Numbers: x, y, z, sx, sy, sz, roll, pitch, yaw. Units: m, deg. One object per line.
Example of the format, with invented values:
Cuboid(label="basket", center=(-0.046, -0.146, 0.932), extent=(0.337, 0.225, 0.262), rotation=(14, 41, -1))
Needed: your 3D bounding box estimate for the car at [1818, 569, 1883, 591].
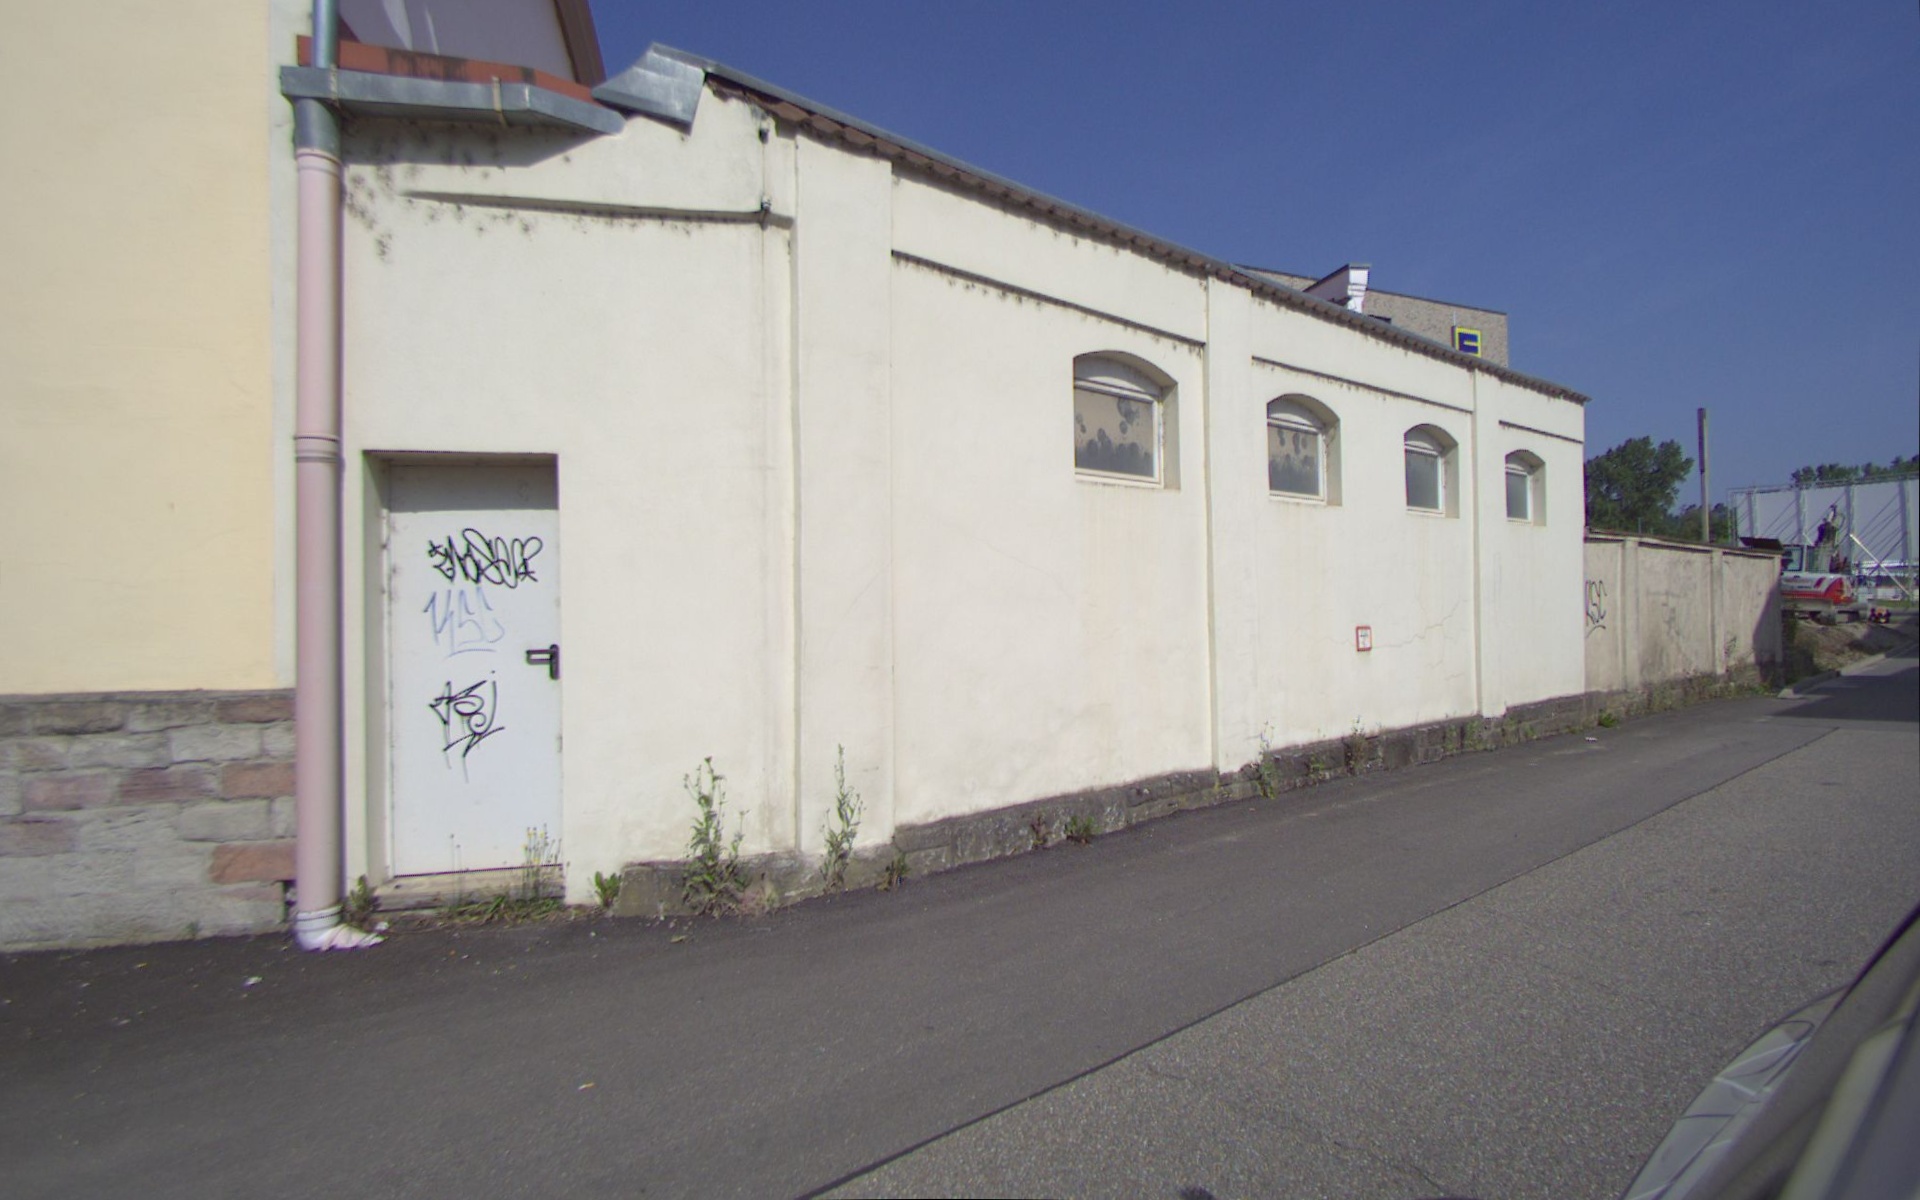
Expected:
Cuboid(label="car", center=(78.758, -1.751, 89.525), extent=(1.747, 1.595, 4.016), rotation=(0, -4, -38))

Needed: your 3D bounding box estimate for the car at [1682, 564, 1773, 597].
Cuboid(label="car", center=(66.761, -1.643, 88.180), extent=(2.017, 2.415, 6.100), rotation=(-1, -3, -21))

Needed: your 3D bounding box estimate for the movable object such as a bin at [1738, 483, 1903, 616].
Cuboid(label="movable object such as a bin", center=(28.664, -1.592, 33.584), extent=(7.655, 3.904, 2.300), rotation=(-1, -3, -37))
